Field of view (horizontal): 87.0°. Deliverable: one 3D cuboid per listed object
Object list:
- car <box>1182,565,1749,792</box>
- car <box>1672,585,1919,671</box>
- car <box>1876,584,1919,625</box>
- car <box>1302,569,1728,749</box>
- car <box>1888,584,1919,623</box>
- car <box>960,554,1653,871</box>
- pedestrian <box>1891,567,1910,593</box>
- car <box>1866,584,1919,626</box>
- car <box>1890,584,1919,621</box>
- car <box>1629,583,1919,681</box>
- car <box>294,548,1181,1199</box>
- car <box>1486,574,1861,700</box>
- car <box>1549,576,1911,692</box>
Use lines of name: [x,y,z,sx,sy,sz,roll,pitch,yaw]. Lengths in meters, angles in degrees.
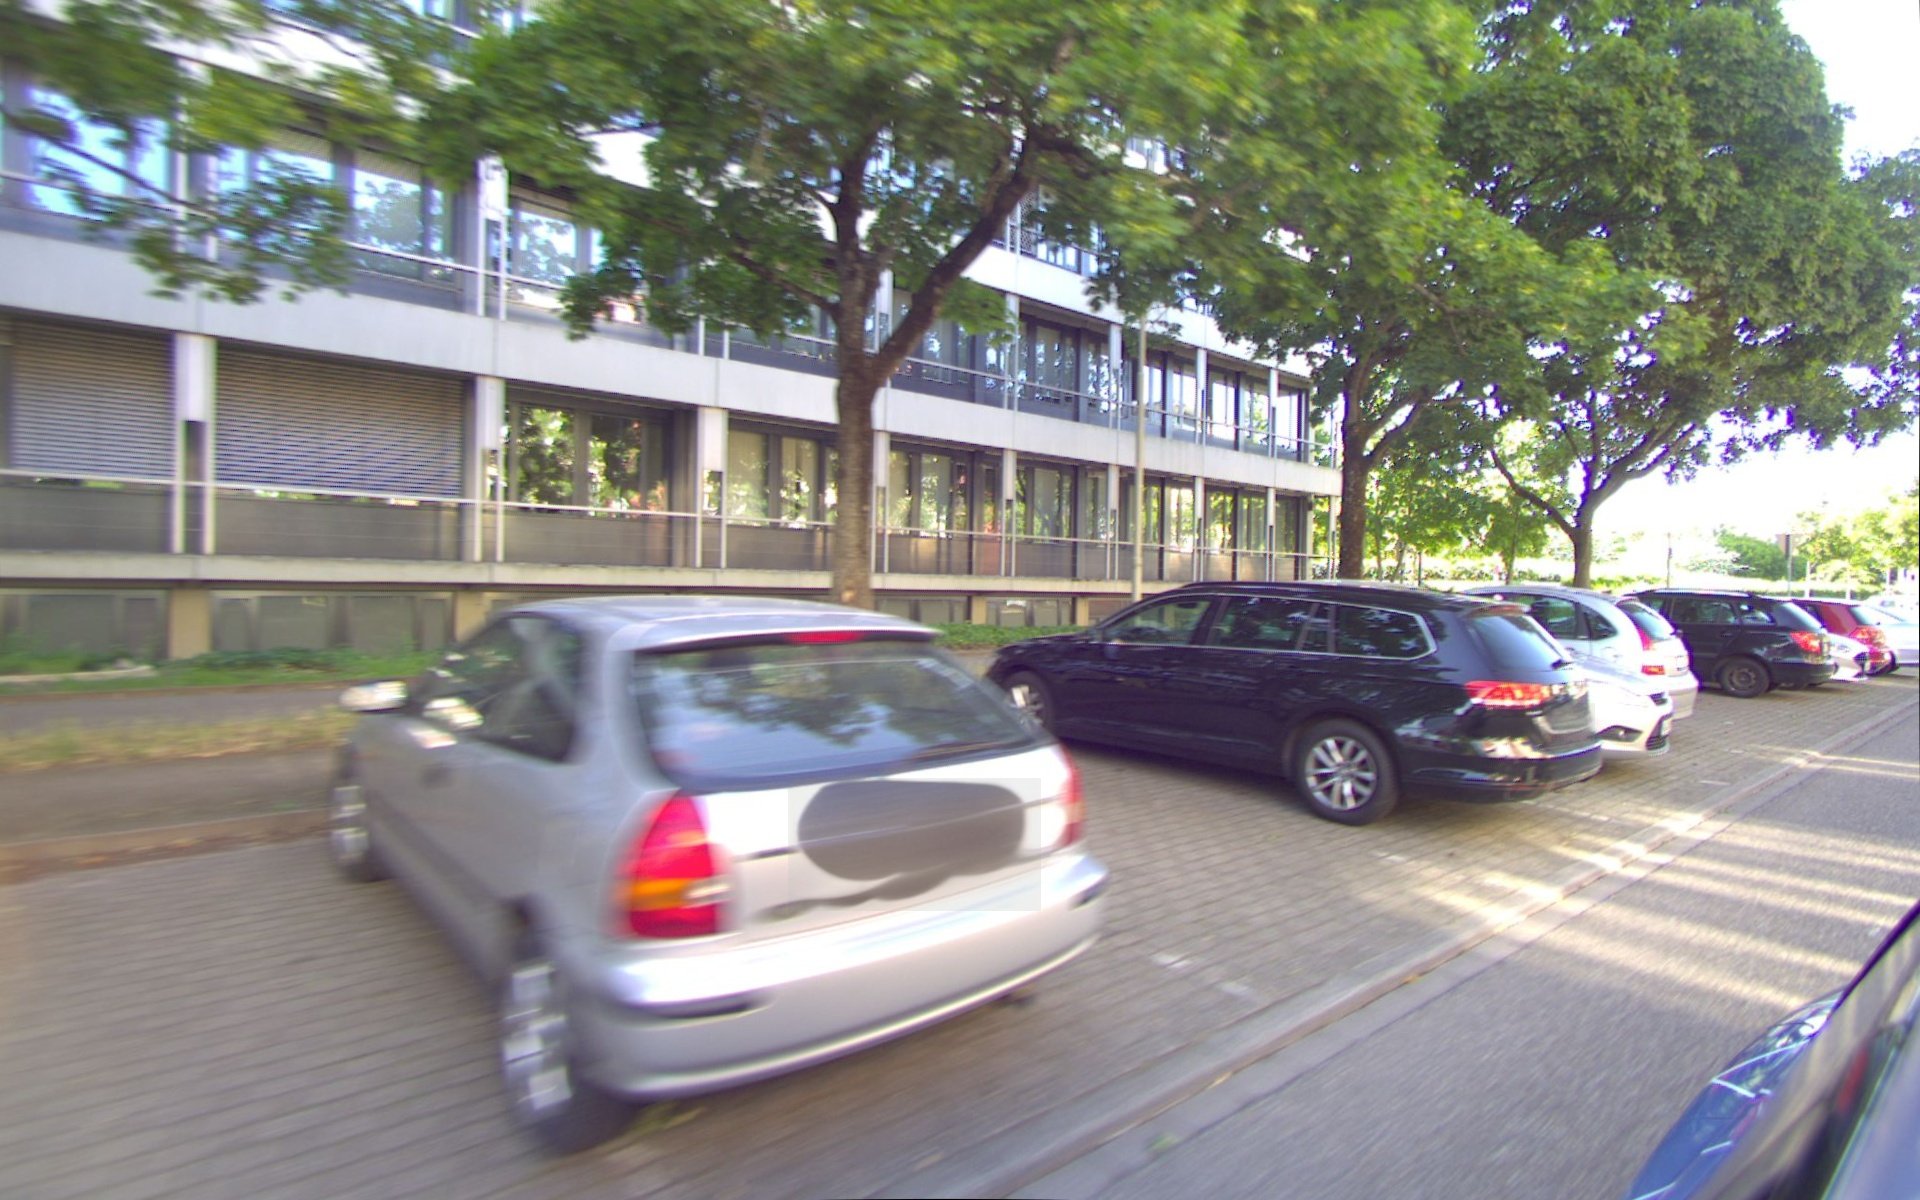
car: [4.459,0.500,9.462,1.970,1.511,4.293,0,3,-42]
car: [17.260,0.506,20.305,1.716,1.493,4.588,0,2,-40]
car: [39.591,0.261,40.240,4.552,1.533,1.951,5,5,44]
car: [5.875,0.490,11.023,1.590,1.511,3.747,0,3,-44]
car: [41.367,0.232,42.046,1.719,1.533,3.886,-1,4,-39]
car: [2.198,0.507,7.559,1.733,1.511,4.599,0,4,-42]
pedestrian: [57.908,-1.229,62.296,0.919,1.561,0.609,0,1,-34]
car: [37.505,0.258,38.739,1.671,1.533,3.959,-1,4,-39]
car: [43.344,0.226,43.588,2.120,1.533,4.562,-1,4,-39]
car: [15.035,0.500,18.843,1.886,1.464,3.851,0,3,-36]
car: [-1.290,0.565,3.992,1.681,1.437,3.977,0,3,-42]
car: [11.050,0.450,15.928,1.890,1.561,4.520,0,3,-44]
car: [12.910,0.457,17.273,1.886,1.561,4.530,0,3,-36]
